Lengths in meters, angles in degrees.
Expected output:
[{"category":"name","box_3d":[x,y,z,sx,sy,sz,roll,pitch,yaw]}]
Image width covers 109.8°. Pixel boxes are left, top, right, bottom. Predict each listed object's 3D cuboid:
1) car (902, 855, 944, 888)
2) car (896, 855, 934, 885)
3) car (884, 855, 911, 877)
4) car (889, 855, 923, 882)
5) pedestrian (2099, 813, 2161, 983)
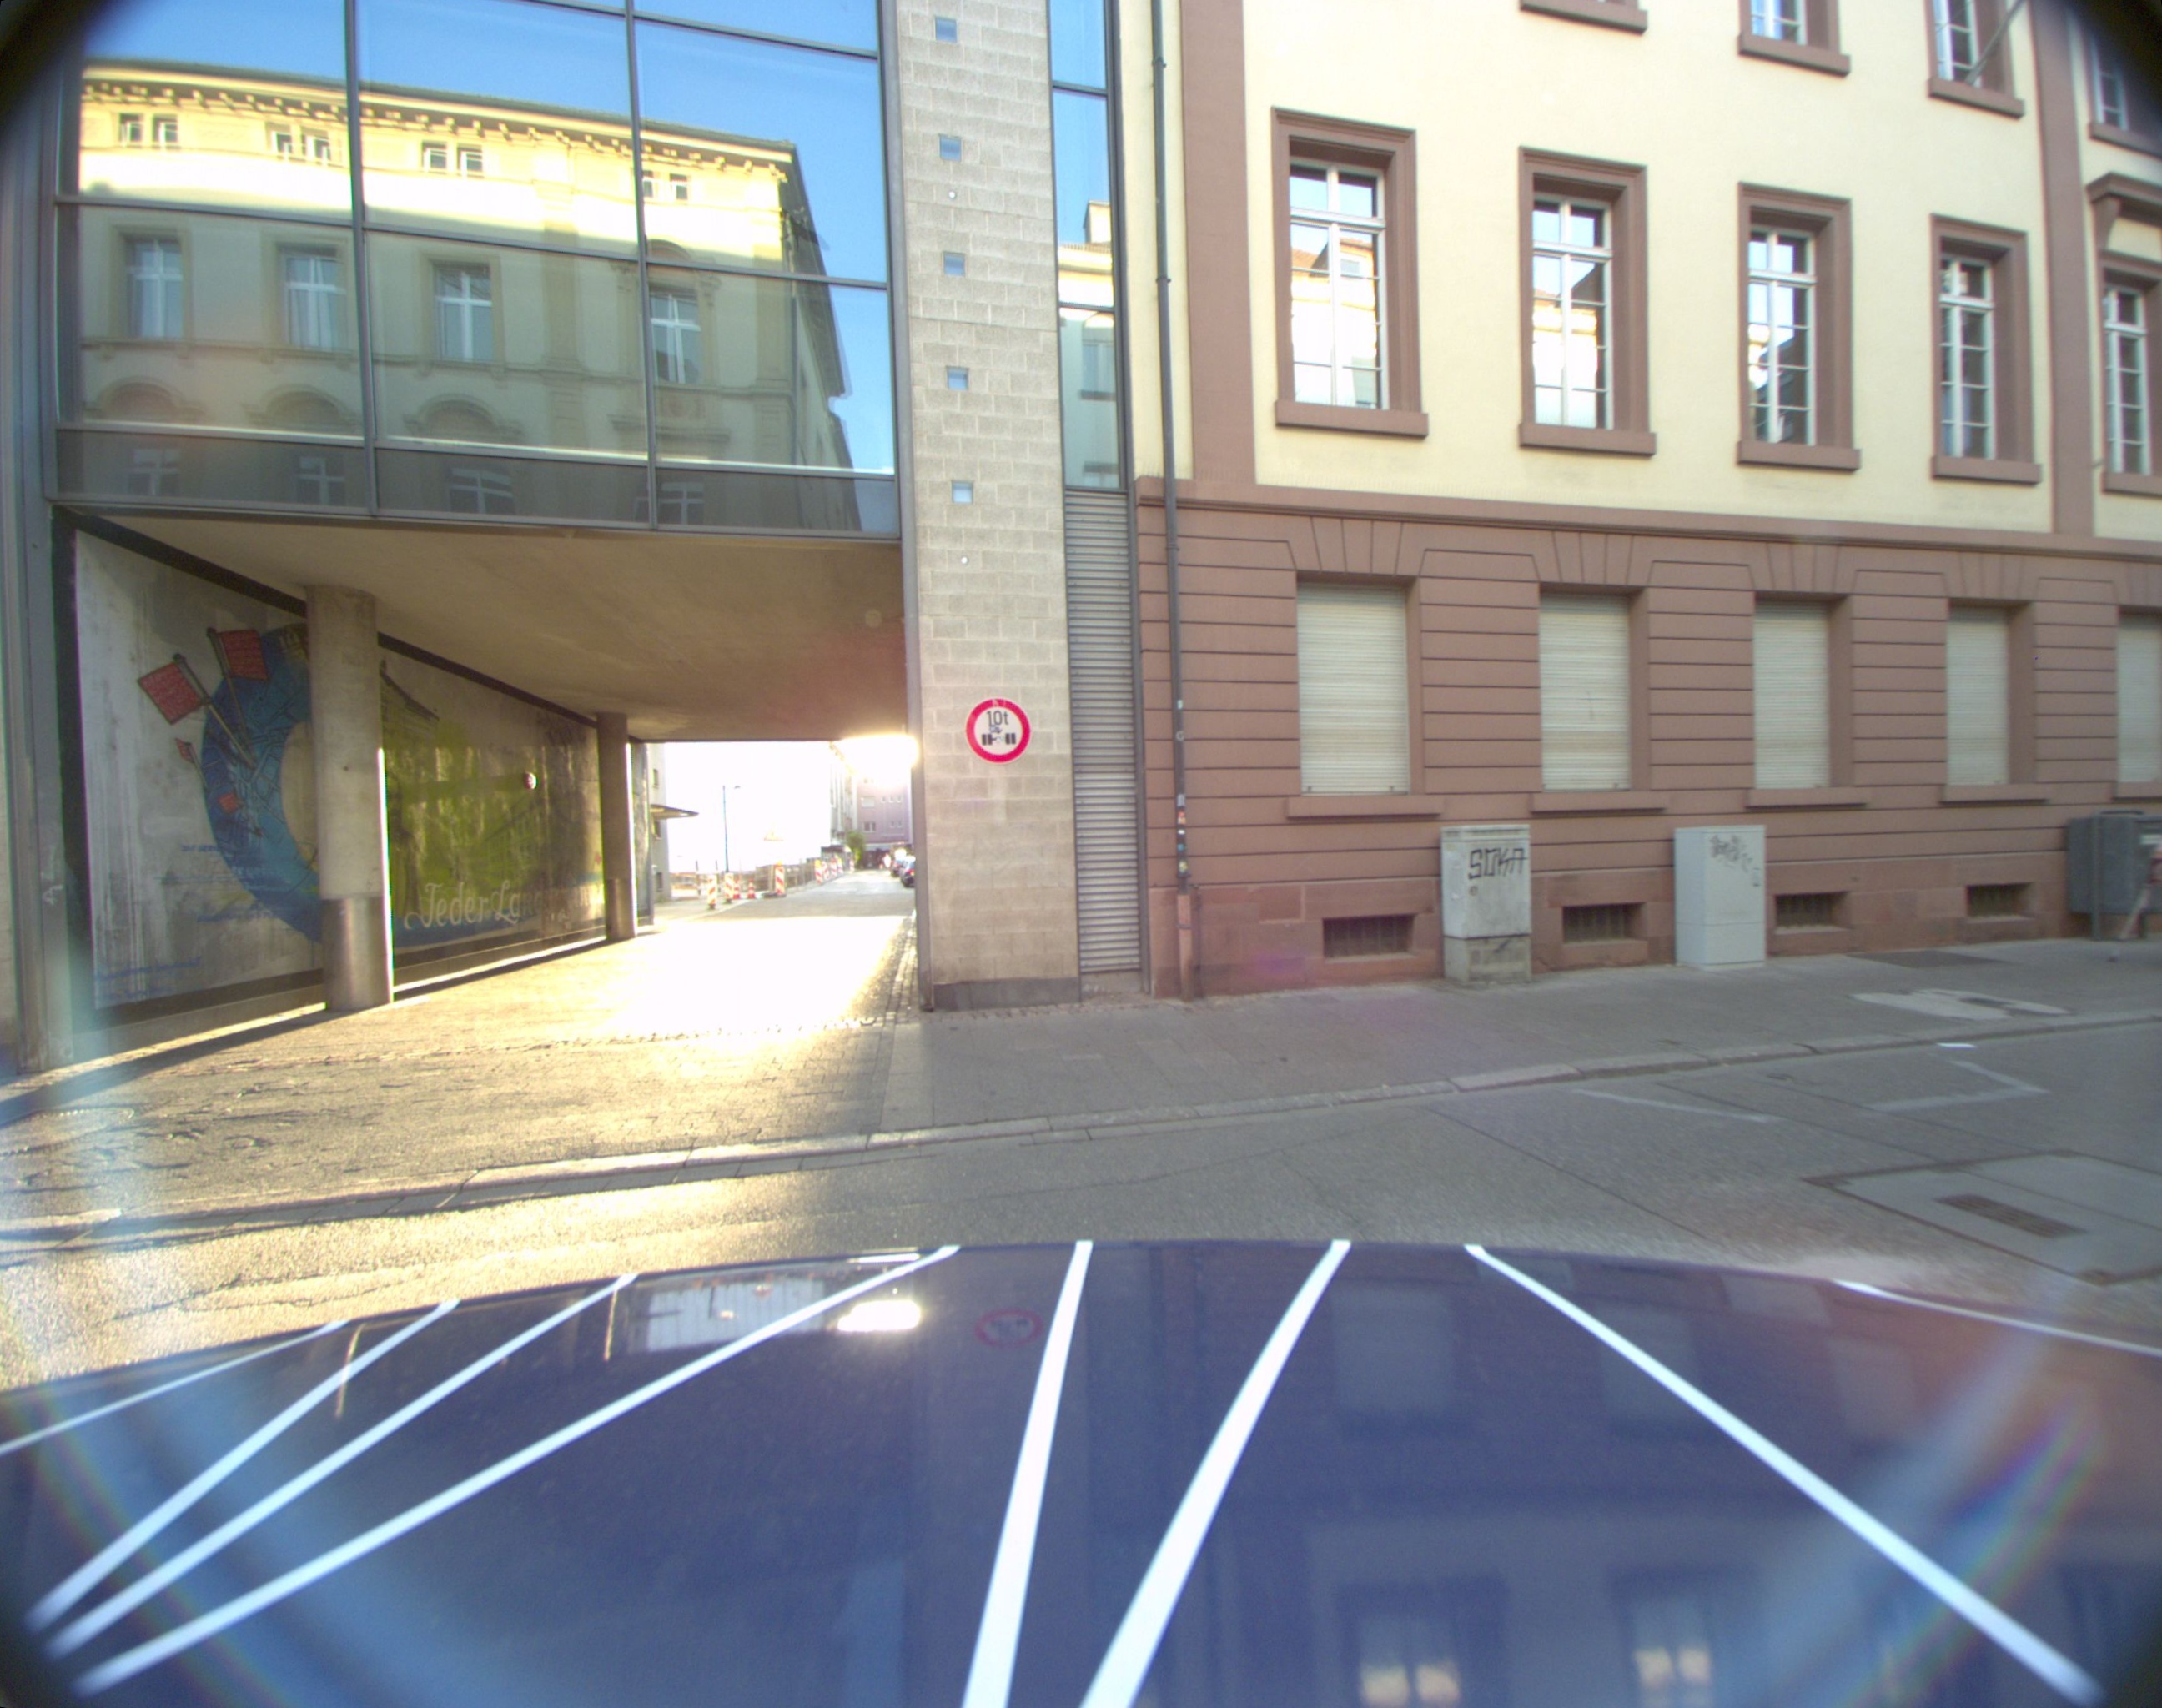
[{"category":"car","box_3d":[-7.919,0.831,37.850,1.603,1.484,3.439,-2,1,-18]},{"category":"car","box_3d":[-9.121,0.824,41.558,1.603,1.484,3.439,-2,1,-18]},{"category":"car","box_3d":[-13.520,0.850,55.922,1.603,1.484,3.439,-2,1,-18]},{"category":"car","box_3d":[-10.495,0.812,45.365,1.603,1.484,3.439,-2,1,-18]},{"category":"pedestrian","box_3d":[11.016,0.420,7.516,0.931,1.662,0.811,-2,2,-13]}]
